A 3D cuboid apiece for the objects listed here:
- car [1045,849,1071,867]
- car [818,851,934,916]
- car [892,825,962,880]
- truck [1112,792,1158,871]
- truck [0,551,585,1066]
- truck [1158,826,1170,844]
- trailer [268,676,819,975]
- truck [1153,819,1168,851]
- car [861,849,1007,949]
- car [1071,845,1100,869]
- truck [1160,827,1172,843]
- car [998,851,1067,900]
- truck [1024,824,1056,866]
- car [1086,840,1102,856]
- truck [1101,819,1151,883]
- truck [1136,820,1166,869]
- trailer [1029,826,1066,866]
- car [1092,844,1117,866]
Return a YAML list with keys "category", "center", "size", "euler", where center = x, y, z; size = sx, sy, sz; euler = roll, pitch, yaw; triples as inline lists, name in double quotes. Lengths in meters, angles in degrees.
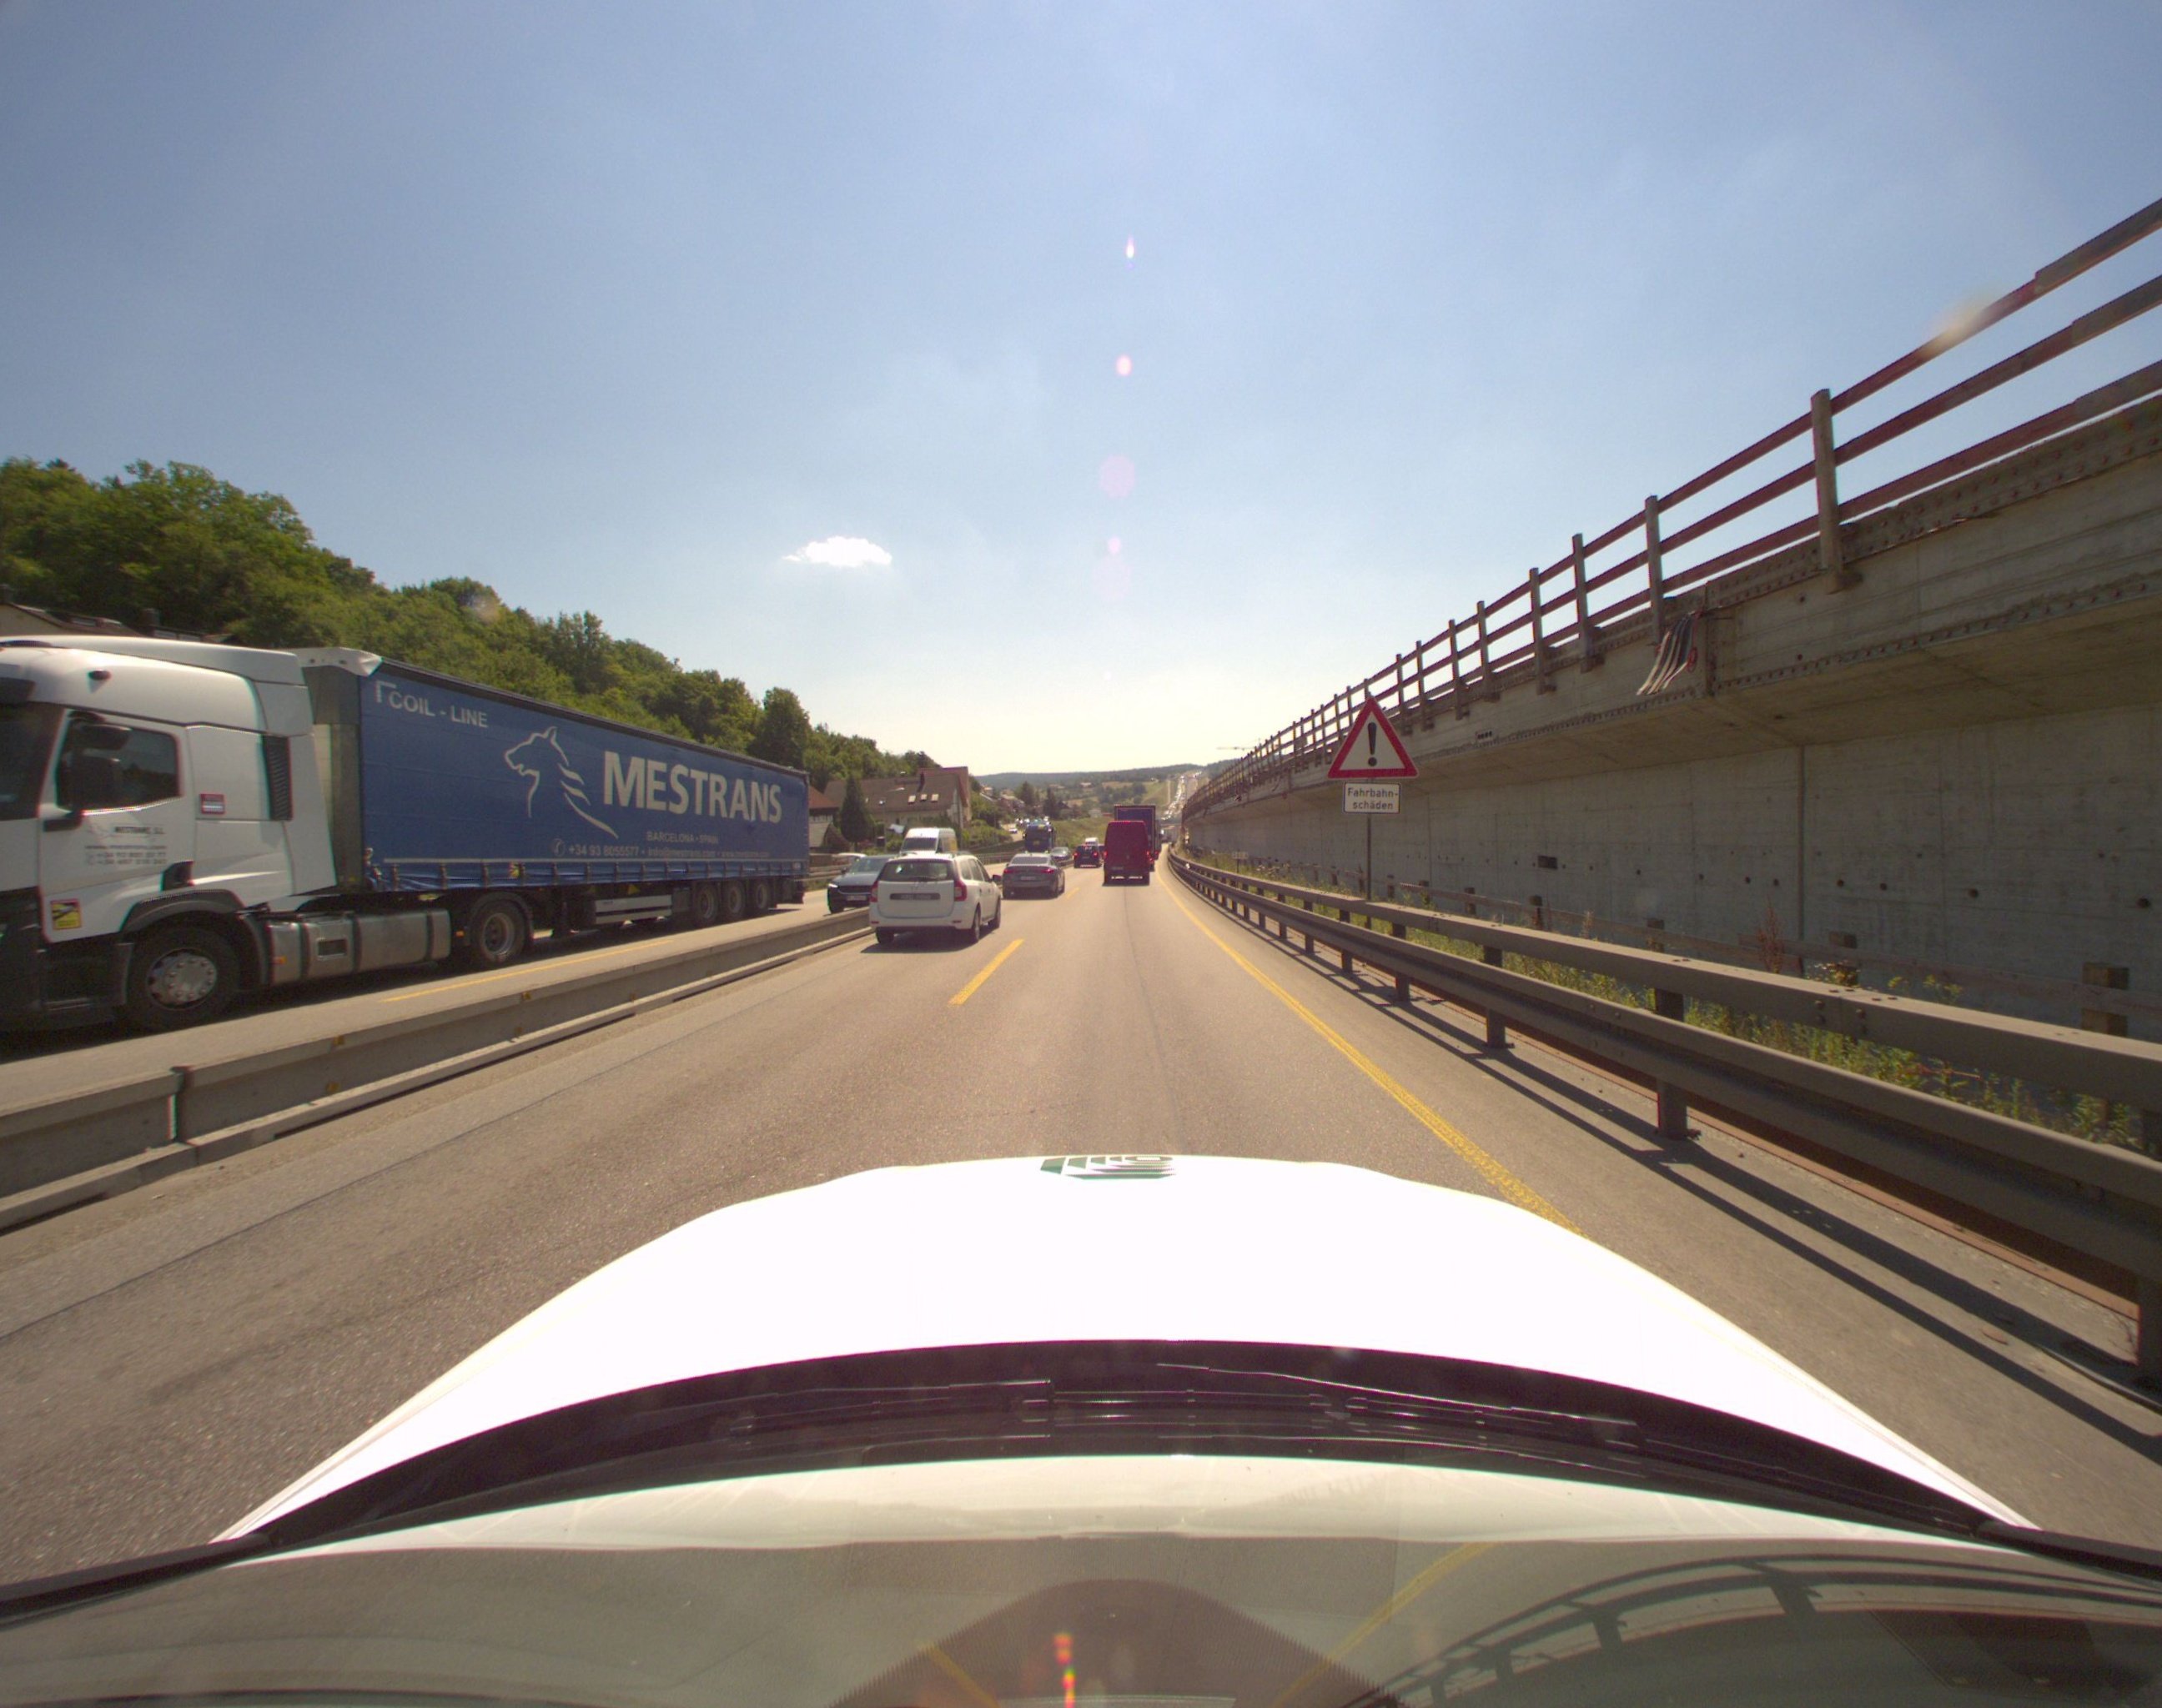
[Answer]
- category: "car"
  center: [-1.946, 0.297, 70.141]
  size: [1.536, 1.464, 4.637]
  euler: [-1, 0, 7]
- category: "car"
  center: [-5.439, 0.706, 22.251]
  size: [1.843, 1.546, 4.561]
  euler: [-1, 0, 2]
- category: "car"
  center: [-7.894, -0.108, 42.387]
  size: [1.996, 2.603, 5.988]
  euler: [-1, 0, 5]
- category: "truck"
  center: [3.698, -1.303, 55.326]
  size: [2.774, 4.816, 9.695]
  euler: [-1, -1, 4]
- category: "truck"
  center: [-9.886, -0.362, 9.862]
  size: [3.121, 4.079, 6.887]
  euler: [-1, 0, 4]
- category: "truck"
  center: [22.633, -5.127, 222.578]
  size: [3.053, 4.381, 8.572]
  euler: [-1, -1, 7]
- category: "trailer"
  center: [-9.385, -0.429, 17.217]
  size: [3.122, 4.079, 11.830]
  euler: [-1, 0, 4]
- category: "truck"
  center: [11.435, -2.637, 116.470]
  size: [1.983, 4.381, 4.007]
  euler: [-1, -1, 7]
- category: "car"
  center: [-2.490, 0.724, 14.874]
  size: [1.645, 1.483, 4.269]
  euler: [-3, -1, 2]
- category: "car"
  center: [0.336, 0.247, 57.672]
  size: [1.802, 1.608, 3.722]
  euler: [-1, -1, 4]
- category: "truck"
  center: [25.448, -5.581, 243.387]
  size: [3.449, 4.381, 8.572]
  euler: [-1, -1, 7]
- category: "car"
  center: [-1.540, 0.686, 27.130]
  size: [1.787, 1.485, 4.052]
  euler: [1, -1, 3]
- category: "truck"
  center: [-4.042, -0.814, 81.405]
  size: [2.496, 3.965, 5.182]
  euler: [-1, -1, 5]
- category: "car"
  center: [2.133, -1.009, 134.370]
  size: [1.982, 2.507, 5.527]
  euler: [-1, -1, 8]
- category: "truck"
  center: [1.986, -0.102, 35.437]
  size: [1.985, 2.579, 4.003]
  euler: [-1, -1, 3]
- category: "truck"
  center: [7.211, -0.855, 84.749]
  size: [2.774, 4.816, 9.695]
  euler: [-1, -1, 4]
- category: "trailer"
  center: [-3.465, -0.766, 87.924]
  size: [2.496, 3.965, 11.414]
  euler: [-1, -1, 5]
- category: "car"
  center: [2.093, 0.097, 71.362]
  size: [1.720, 1.838, 4.008]
  euler: [-1, -1, 7]
